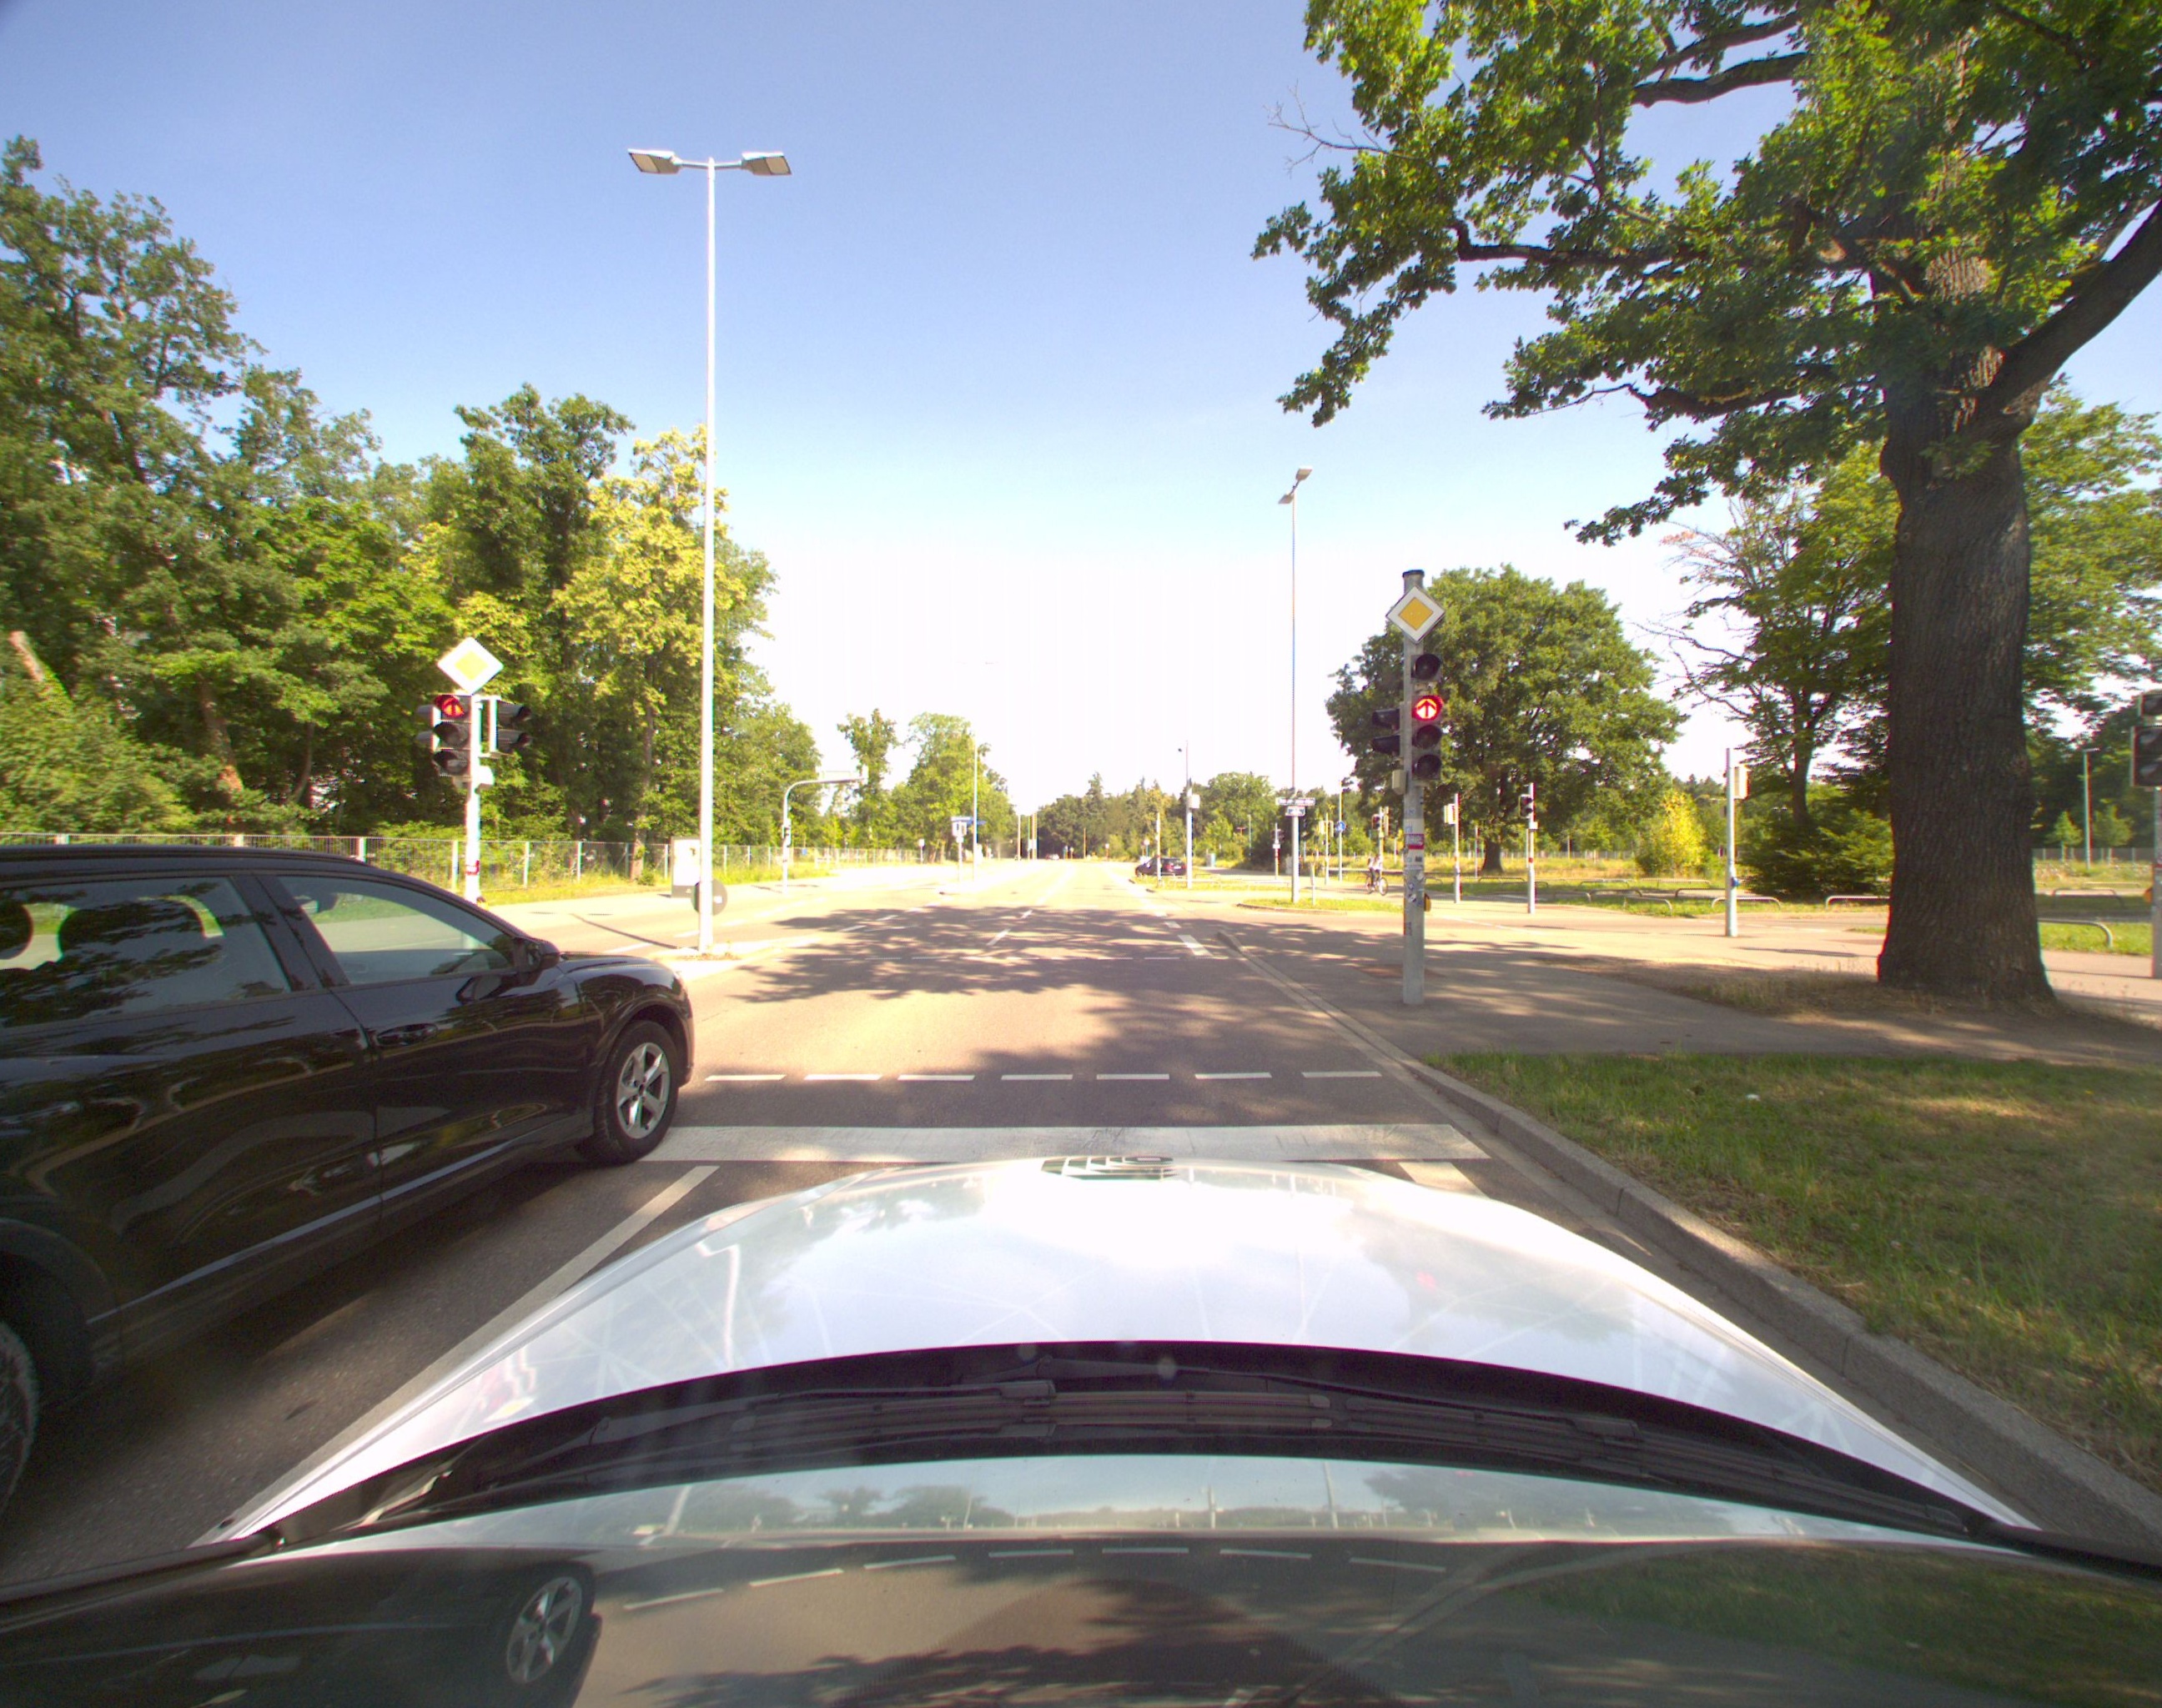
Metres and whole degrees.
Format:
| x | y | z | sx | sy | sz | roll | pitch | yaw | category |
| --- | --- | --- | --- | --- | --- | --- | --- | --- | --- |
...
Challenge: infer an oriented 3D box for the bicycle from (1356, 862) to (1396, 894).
| x | y | z | sx | sy | sz | roll | pitch | yaw | category |
| --- | --- | --- | --- | --- | --- | --- | --- | --- | --- |
| 11.569 | 0.916 | 32.006 | 0.722 | 1.199 | 2.099 | 0 | 0 | -2 | bicycle |

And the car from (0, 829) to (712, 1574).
| x | y | z | sx | sy | sz | roll | pitch | yaw | category |
| --- | --- | --- | --- | --- | --- | --- | --- | --- | --- |
| -3.061 | 0.734 | 2.658 | 1.681 | 1.544 | 4.150 | -1 | 0 | 2 | car |

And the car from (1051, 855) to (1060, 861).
| x | y | z | sx | sy | sz | roll | pitch | yaw | category |
| --- | --- | --- | --- | --- | --- | --- | --- | --- | --- |
| -6.854 | 1.044 | 218.462 | 1.994 | 1.750 | 3.986 | 0 | -1 | -10 | car |

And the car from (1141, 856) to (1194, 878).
| x | y | z | sx | sy | sz | roll | pitch | yaw | category |
| --- | --- | --- | --- | --- | --- | --- | --- | --- | --- |
| 5.853 | 0.833 | 55.695 | 1.947 | 1.420 | 4.265 | 0 | 0 | -19 | car |

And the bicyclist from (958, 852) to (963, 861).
| x | y | z | sx | sy | sz | roll | pitch | yaw | category |
| --- | --- | --- | --- | --- | --- | --- | --- | --- | --- |
| -18.820 | 0.370 | 126.817 | 0.658 | 1.467 | 1.056 | 1 | 0 | -4 | bicyclist |

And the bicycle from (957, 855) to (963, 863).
| x | y | z | sx | sy | sz | roll | pitch | yaw | category |
| --- | --- | --- | --- | --- | --- | --- | --- | --- | --- |
| -18.847 | 0.746 | 126.752 | 0.658 | 1.136 | 1.876 | 1 | 0 | -3 | bicycle |

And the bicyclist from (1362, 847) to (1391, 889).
| x | y | z | sx | sy | sz | roll | pitch | yaw | category |
| --- | --- | --- | --- | --- | --- | --- | --- | --- | --- |
| 11.577 | 0.544 | 31.979 | 0.722 | 1.639 | 1.057 | 0 | 0 | -3 | bicyclist |

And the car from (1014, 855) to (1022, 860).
| x | y | z | sx | sy | sz | roll | pitch | yaw | category |
| --- | --- | --- | --- | --- | --- | --- | --- | --- | --- |
| -18.230 | 0.979 | 235.537 | 1.811 | 1.388 | 4.147 | -2 | 0 | -10 | car |

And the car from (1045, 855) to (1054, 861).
| x | y | z | sx | sy | sz | roll | pitch | yaw | category |
| --- | --- | --- | --- | --- | --- | --- | --- | --- | --- |
| -9.154 | 1.106 | 234.769 | 1.993 | 1.596 | 3.988 | 0 | 0 | -9 | car |
